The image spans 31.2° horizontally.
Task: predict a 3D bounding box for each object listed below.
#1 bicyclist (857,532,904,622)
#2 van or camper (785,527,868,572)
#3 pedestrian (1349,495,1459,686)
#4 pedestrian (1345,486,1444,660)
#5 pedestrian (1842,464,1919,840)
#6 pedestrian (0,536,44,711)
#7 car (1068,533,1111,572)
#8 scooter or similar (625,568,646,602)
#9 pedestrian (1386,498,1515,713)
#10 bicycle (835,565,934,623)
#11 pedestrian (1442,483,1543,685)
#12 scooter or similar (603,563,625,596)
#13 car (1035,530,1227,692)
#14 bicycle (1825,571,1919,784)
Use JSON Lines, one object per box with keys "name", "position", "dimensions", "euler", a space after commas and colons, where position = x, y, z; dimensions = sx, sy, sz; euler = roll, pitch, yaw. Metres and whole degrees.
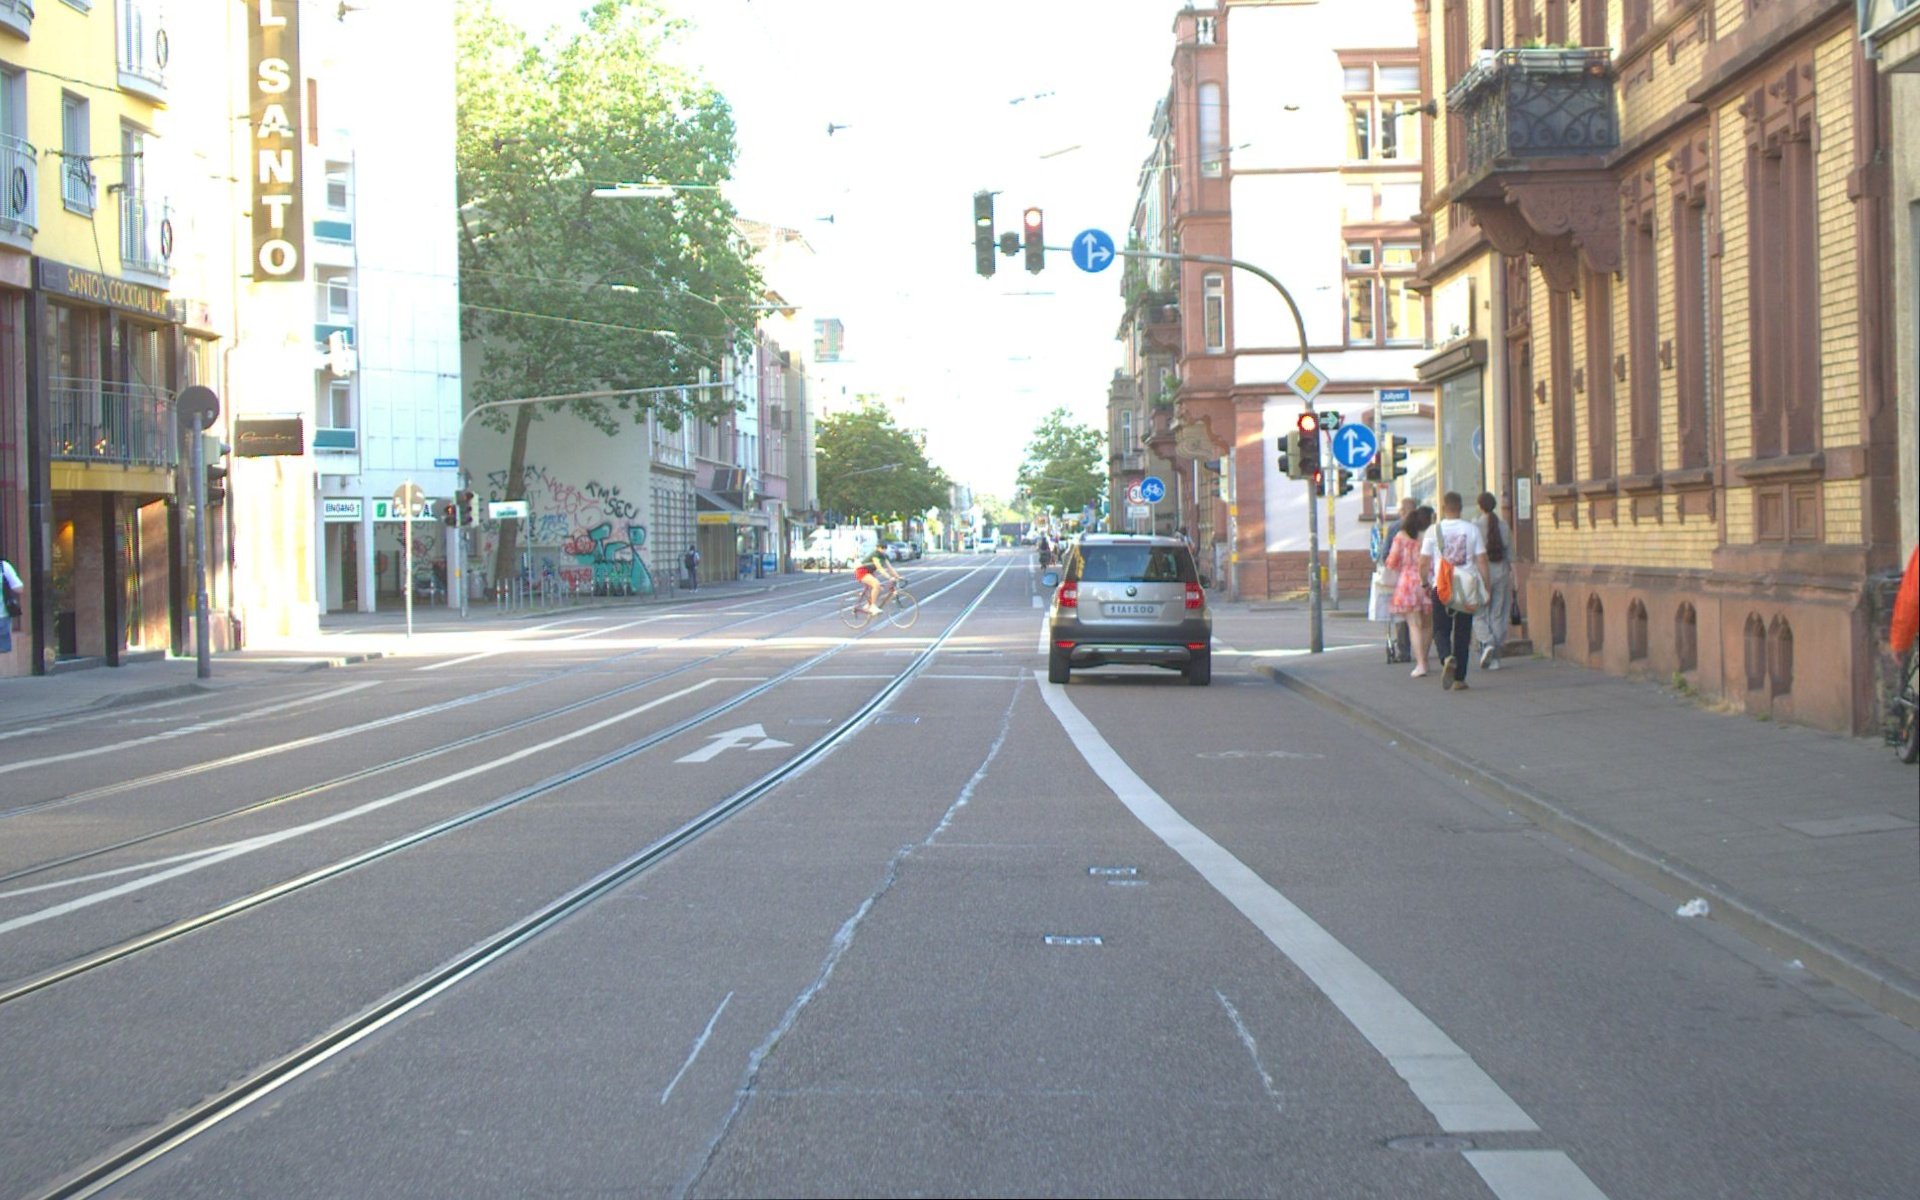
{"name": "bicyclist", "position": [-1.447, -0.414, 62.735], "dimensions": [0.740, 1.628, 0.608], "euler": [-1, 1, 11]}
{"name": "van or camper", "position": [-8.190, -3.107, 211.389], "dimensions": [4.635, 2.554, 2.000], "euler": [-3, 2, -29]}
{"name": "pedestrian", "position": [4.427, -0.106, 34.329], "dimensions": [0.805, 1.793, 0.762], "euler": [-7, 2, 0]}
{"name": "pedestrian", "position": [4.757, -0.304, 37.675], "dimensions": [0.805, 1.793, 0.761], "euler": [-7, 2, 2]}
{"name": "pedestrian", "position": [4.516, 0.194, 15.253], "dimensions": [0.798, 1.622, 0.826], "euler": [-8, 2, 2]}
{"name": "pedestrian", "position": [-10.405, 0.238, 37.032], "dimensions": [0.751, 1.812, 1.046], "euler": [2, 2, 1]}
{"name": "car", "position": [6.087, -2.235, 161.240], "dimensions": [1.950, 1.678, 4.000], "euler": [-3, 2, 3]}
{"name": "scooter or similar", "position": [-10.670, -0.511, 113.074], "dimensions": [0.516, 1.053, 1.478], "euler": [-3, 2, 0]}
{"name": "pedestrian", "position": [4.390, 0.037, 30.815], "dimensions": [0.805, 1.793, 1.092], "euler": [-7, 2, 0]}
{"name": "bicycle", "position": [-1.372, -0.112, 62.726], "dimensions": [1.715, 1.031, 0.598], "euler": [0, 1, 11]}
{"name": "pedestrian", "position": [5.265, -0.167, 34.002], "dimensions": [0.690, 1.902, 0.670], "euler": [-7, 2, 0]}
{"name": "scooter or similar", "position": [-11.378, -0.680, 113.124], "dimensions": [0.516, 1.042, 1.478], "euler": [-3, 2, 0]}
{"name": "car", "position": [1.874, 0.082, 38.833], "dimensions": [1.993, 1.612, 4.000], "euler": [2, 2, 1]}
{"name": "bicycle", "position": [5.500, 0.420, 19.589], "dimensions": [0.555, 1.057, 2.311], "euler": [-5, 2, 2]}
